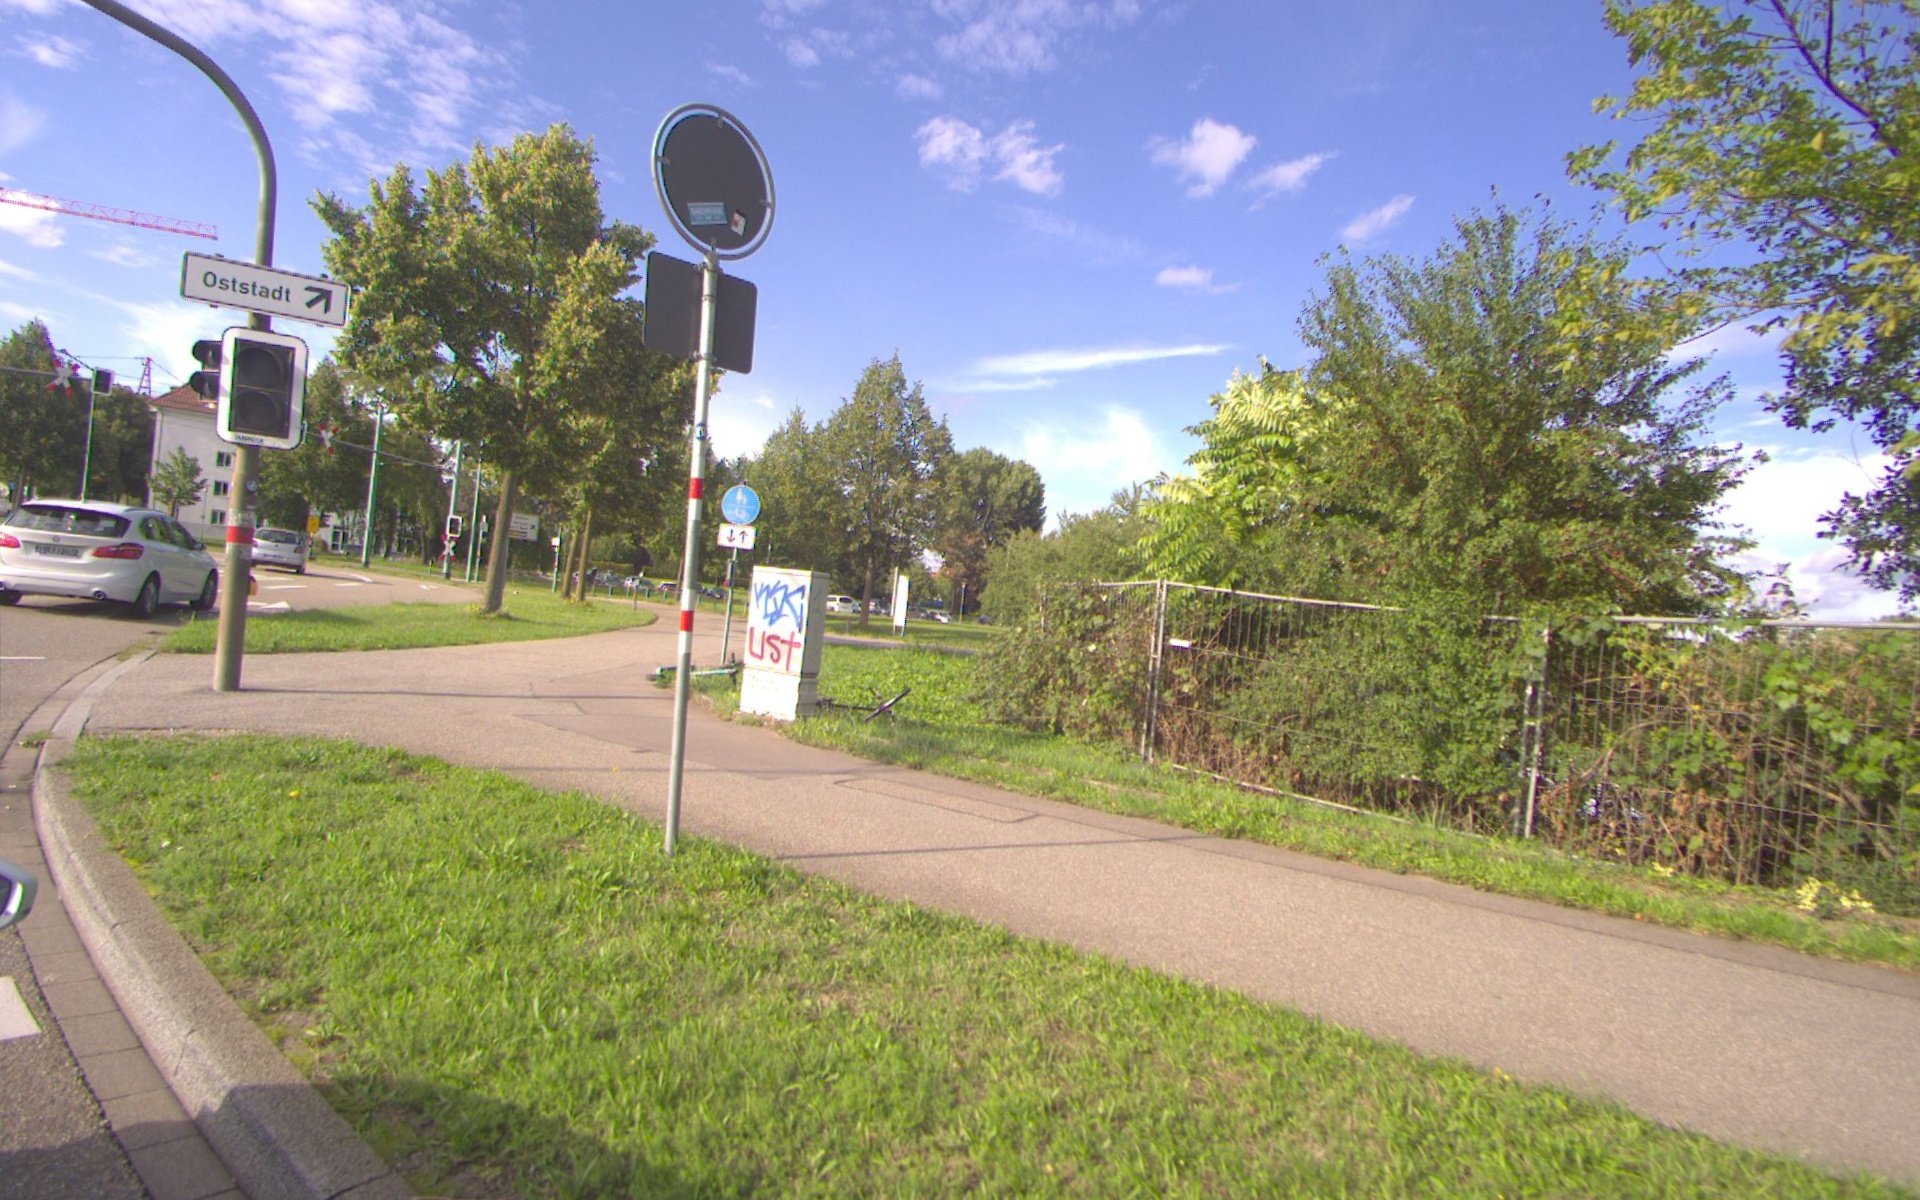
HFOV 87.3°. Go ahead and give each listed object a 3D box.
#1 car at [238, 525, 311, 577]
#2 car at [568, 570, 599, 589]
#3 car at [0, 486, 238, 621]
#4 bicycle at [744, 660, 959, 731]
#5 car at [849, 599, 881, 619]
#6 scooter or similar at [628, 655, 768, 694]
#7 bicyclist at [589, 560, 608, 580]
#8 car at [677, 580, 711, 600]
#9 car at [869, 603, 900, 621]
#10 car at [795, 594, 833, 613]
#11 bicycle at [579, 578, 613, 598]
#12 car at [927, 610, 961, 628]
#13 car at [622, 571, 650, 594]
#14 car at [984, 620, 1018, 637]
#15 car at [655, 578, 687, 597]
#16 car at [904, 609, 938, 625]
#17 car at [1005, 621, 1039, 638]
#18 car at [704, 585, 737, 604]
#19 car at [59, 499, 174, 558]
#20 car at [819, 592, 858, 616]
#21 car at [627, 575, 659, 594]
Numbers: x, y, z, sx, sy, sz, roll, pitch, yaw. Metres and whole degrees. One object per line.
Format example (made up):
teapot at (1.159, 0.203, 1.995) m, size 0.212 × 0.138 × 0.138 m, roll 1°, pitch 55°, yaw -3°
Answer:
car at (-23.454, -1.657, 34.522) m, size 1.839 × 1.443 × 4.417 m, roll 8°, pitch -2°, yaw -33°
car at (-33.303, -1.851, 89.003) m, size 1.840 × 1.376 × 4.700 m, roll 6°, pitch -1°, yaw -29°
car at (-12.859, -0.649, 15.390) m, size 1.832 × 1.591 × 4.433 m, roll 7°, pitch -2°, yaw -23°
bicycle at (-1.156, 1.031, 11.049) m, size 2.211 × 0.350 × 1.090 m, roll 9°, pitch -1°, yaw -4°
car at (-9.788, 0.894, 103.416) m, size 2.073 × 1.694 × 4.449 m, roll 6°, pitch -1°, yaw -21°
scooter or similar at (-3.335, 0.948, 12.999) m, size 1.268 × 0.284 × 1.554 m, roll 6°, pitch 0°, yaw 6°
bicyclist at (-27.202, -2.243, 75.631) m, size 0.702 × 1.372 × 1.003 m, roll 6°, pitch 0°, yaw 30°
car at (-24.894, -0.927, 94.128) m, size 1.840 × 1.534 × 4.910 m, roll 6°, pitch -1°, yaw -29°
car at (-7.840, 1.209, 104.379) m, size 2.008 × 1.534 × 4.093 m, roll 6°, pitch -1°, yaw -21°
car at (-14.551, 0.309, 100.091) m, size 1.844 × 1.534 × 4.426 m, roll 6°, pitch -1°, yaw -36°
bicycle at (-27.462, -0.910, 75.911) m, size 0.702 × 1.237 × 2.524 m, roll 6°, pitch 0°, yaw 29°
car at (-1.729, 2.048, 107.860) m, size 1.837 × 1.523 × 4.442 m, roll 6°, pitch -1°, yaw -25°
car at (-33.227, -1.787, 103.040) m, size 1.856 × 2.036 × 4.781 m, roll 8°, pitch -3°, yaw -26°
car at (4.537, 3.151, 112.307) m, size 1.780 × 1.534 × 4.442 m, roll 6°, pitch -1°, yaw -25°
car at (-26.799, -1.169, 93.224) m, size 1.840 × 1.379 × 4.437 m, roll 6°, pitch -1°, yaw -29°
car at (-4.170, 1.798, 106.704) m, size 1.837 × 1.416 × 4.442 m, roll 6°, pitch -1°, yaw -25°
car at (6.981, 3.309, 113.205) m, size 1.836 × 1.560 × 4.442 m, roll 6°, pitch -1°, yaw -25°
car at (-22.808, -0.557, 95.630) m, size 1.840 × 1.534 × 4.437 m, roll 6°, pitch -1°, yaw -29°
car at (-27.236, -2.251, 32.650) m, size 1.835 × 1.495 × 4.425 m, roll 7°, pitch -2°, yaw -28°
car at (-12.298, 0.349, 101.723) m, size 2.288 × 2.032 × 5.082 m, roll 6°, pitch -1°, yaw -26°
car at (-29.036, -1.436, 92.064) m, size 1.840 × 1.374 × 4.799 m, roll 6°, pitch -1°, yaw -29°
